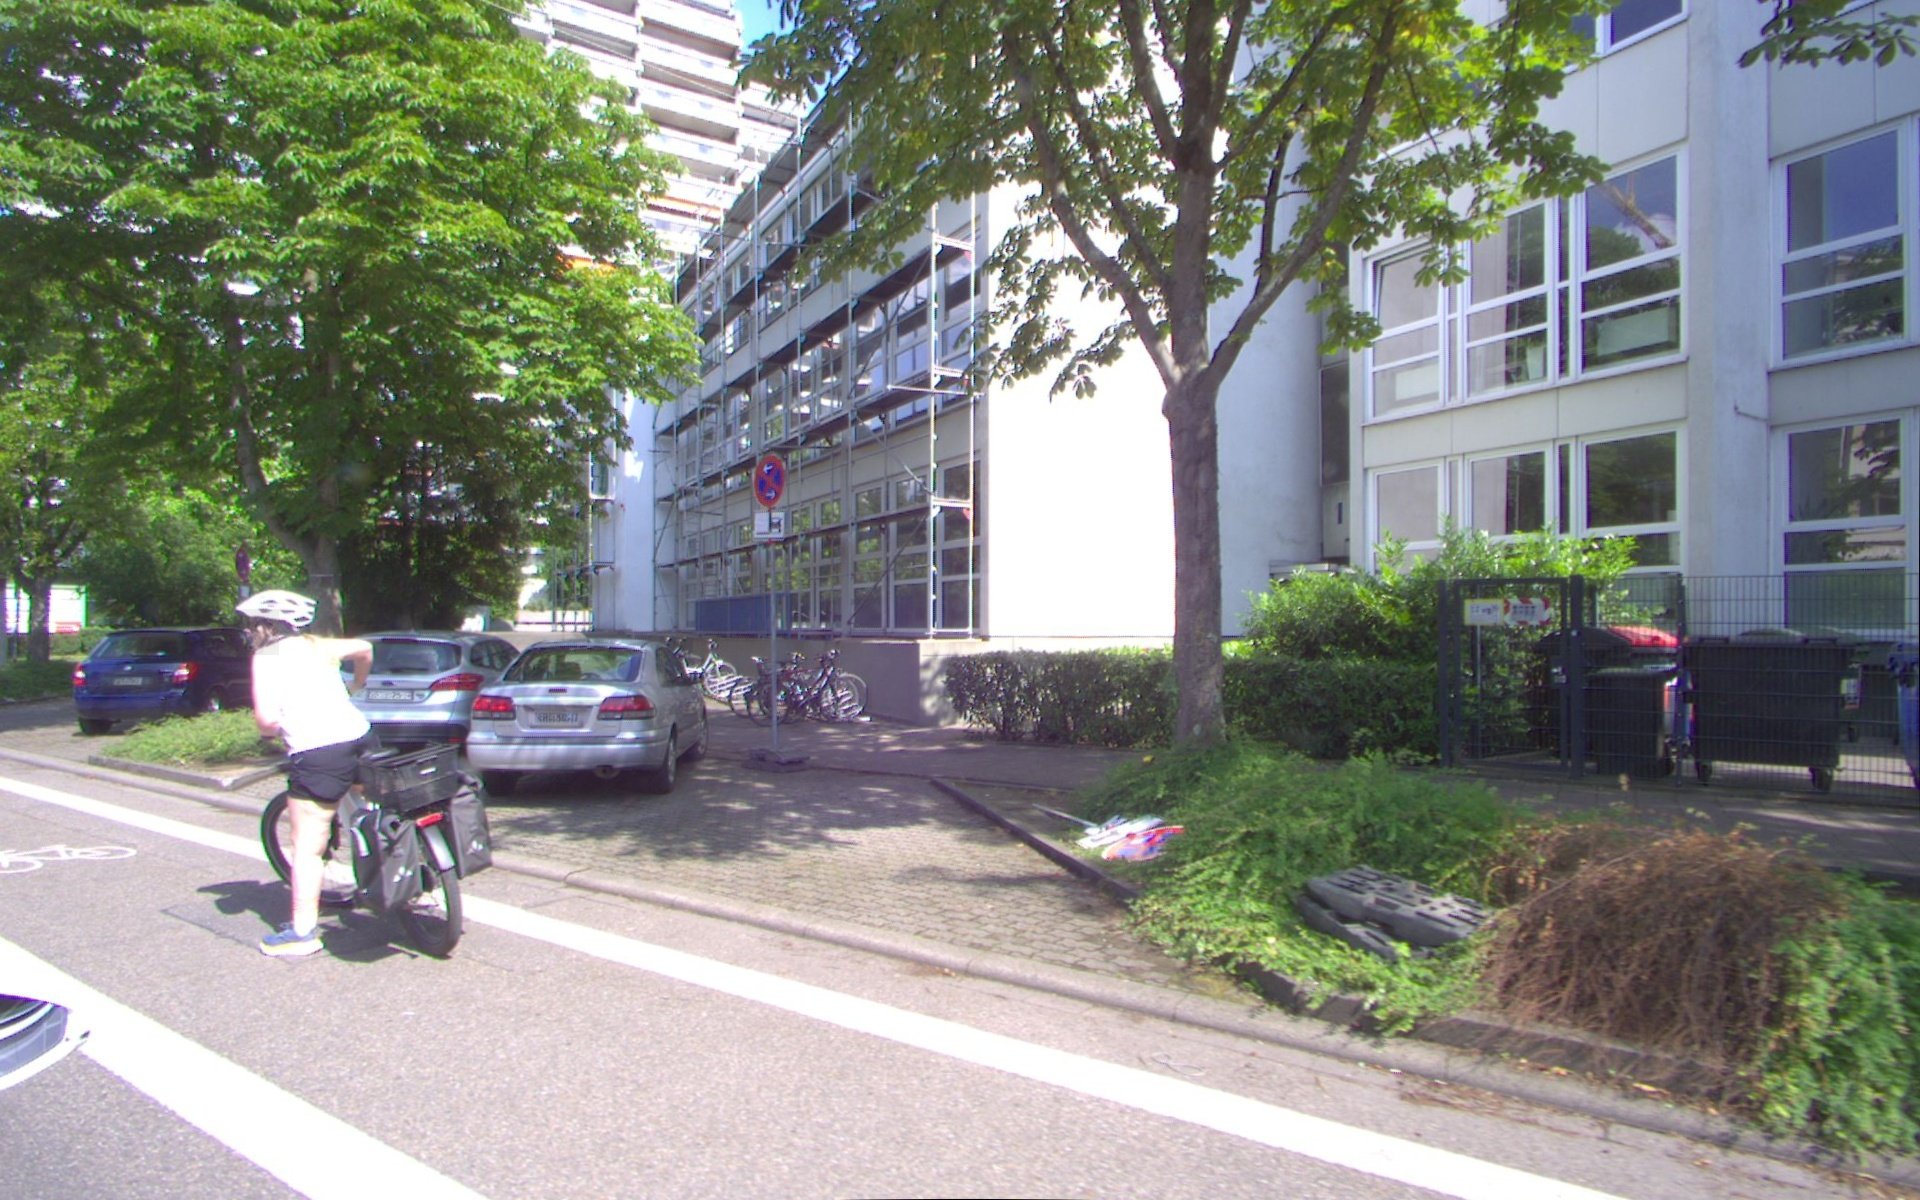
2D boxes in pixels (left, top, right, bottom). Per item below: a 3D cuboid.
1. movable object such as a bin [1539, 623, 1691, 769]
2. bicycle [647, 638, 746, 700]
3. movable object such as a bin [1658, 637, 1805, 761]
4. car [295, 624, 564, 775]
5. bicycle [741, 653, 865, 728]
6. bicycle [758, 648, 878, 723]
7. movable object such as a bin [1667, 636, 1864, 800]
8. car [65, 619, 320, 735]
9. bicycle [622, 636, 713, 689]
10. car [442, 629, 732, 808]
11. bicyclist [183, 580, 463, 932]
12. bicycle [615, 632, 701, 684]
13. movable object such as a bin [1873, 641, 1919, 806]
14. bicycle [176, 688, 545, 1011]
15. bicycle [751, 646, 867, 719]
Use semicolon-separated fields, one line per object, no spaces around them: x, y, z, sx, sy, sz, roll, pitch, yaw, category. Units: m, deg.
7.233;1.026;11.073;1.250;1.499;0.932;2;-1;-30;movable object such as a bin
-5.095;1.324;19.417;1.804;1.111;0.449;0;3;-27;bicycle
9.521;1.169;12.368;1.201;1.356;1.252;-1;1;-42;movable object such as a bin
-6.116;1.086;12.050;1.621;1.493;3.805;2;-2;-8;car
-2.443;1.392;15.660;1.872;1.067;0.449;0;1;-27;bicycle
-2.296;1.372;16.264;1.872;1.110;0.449;0;1;-27;bicycle
7.299;1.027;9.179;1.218;1.352;1.274;-1;-3;31;movable object such as a bin
-11.694;1.081;15.614;1.586;1.505;3.996;0;0;-12;car
-6.254;1.322;21.431;1.805;1.110;0.449;1;0;-27;bicycle
-3.548;1.046;10.372;1.690;1.438;4.243;1;-2;-5;car
-3.247;0.717;5.112;1.072;1.548;0.886;-1;-3;39;bicyclist
-6.780;1.297;22.496;1.804;1.110;0.449;0;0;-27;bicycle
8.763;1.032;8.427;1.339;1.352;1.273;-1;-3;31;movable object such as a bin
-3.015;1.066;4.941;2.110;1.140;0.871;0;-2;39;bicycle
-2.512;1.361;16.714;1.872;1.110;0.449;0;1;-27;bicycle
